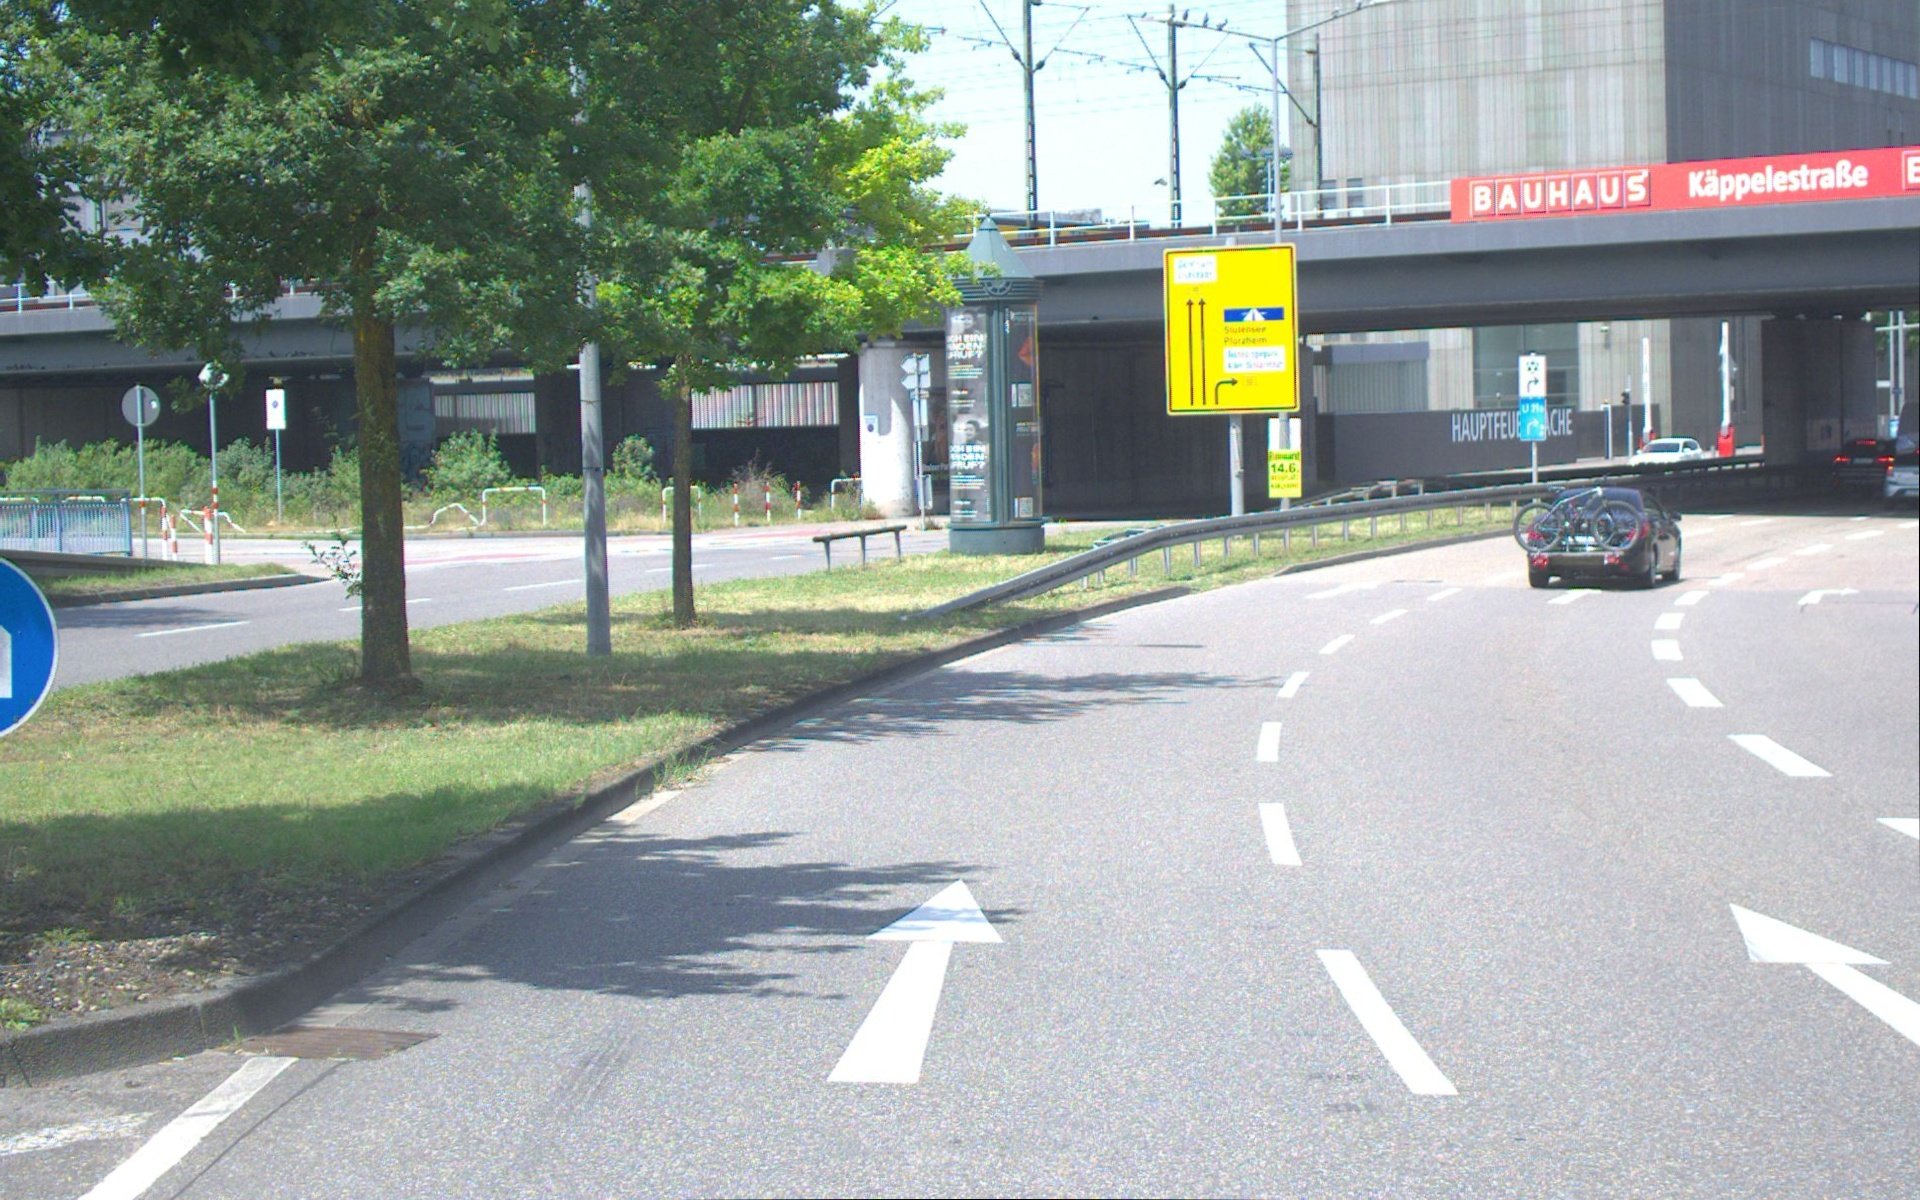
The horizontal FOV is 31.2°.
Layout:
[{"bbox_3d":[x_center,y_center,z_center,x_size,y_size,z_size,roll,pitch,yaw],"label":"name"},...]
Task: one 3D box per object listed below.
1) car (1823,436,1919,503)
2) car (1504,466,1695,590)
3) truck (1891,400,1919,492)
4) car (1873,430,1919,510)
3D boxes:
[{"bbox_3d":[24.367,-3.481,91.248,1.943,1.715,3.994,1,3,28],"label":"car"},{"bbox_3d":[9.193,-1.068,49.179,1.959,1.628,4.276,1,3,21],"label":"car"},{"bbox_3d":[28.074,-4.408,97.626,2.071,2.529,3.993,-1,2,32],"label":"truck"},{"bbox_3d":[23.478,-3.161,83.186,1.843,1.883,3.994,1,3,28],"label":"car"}]
